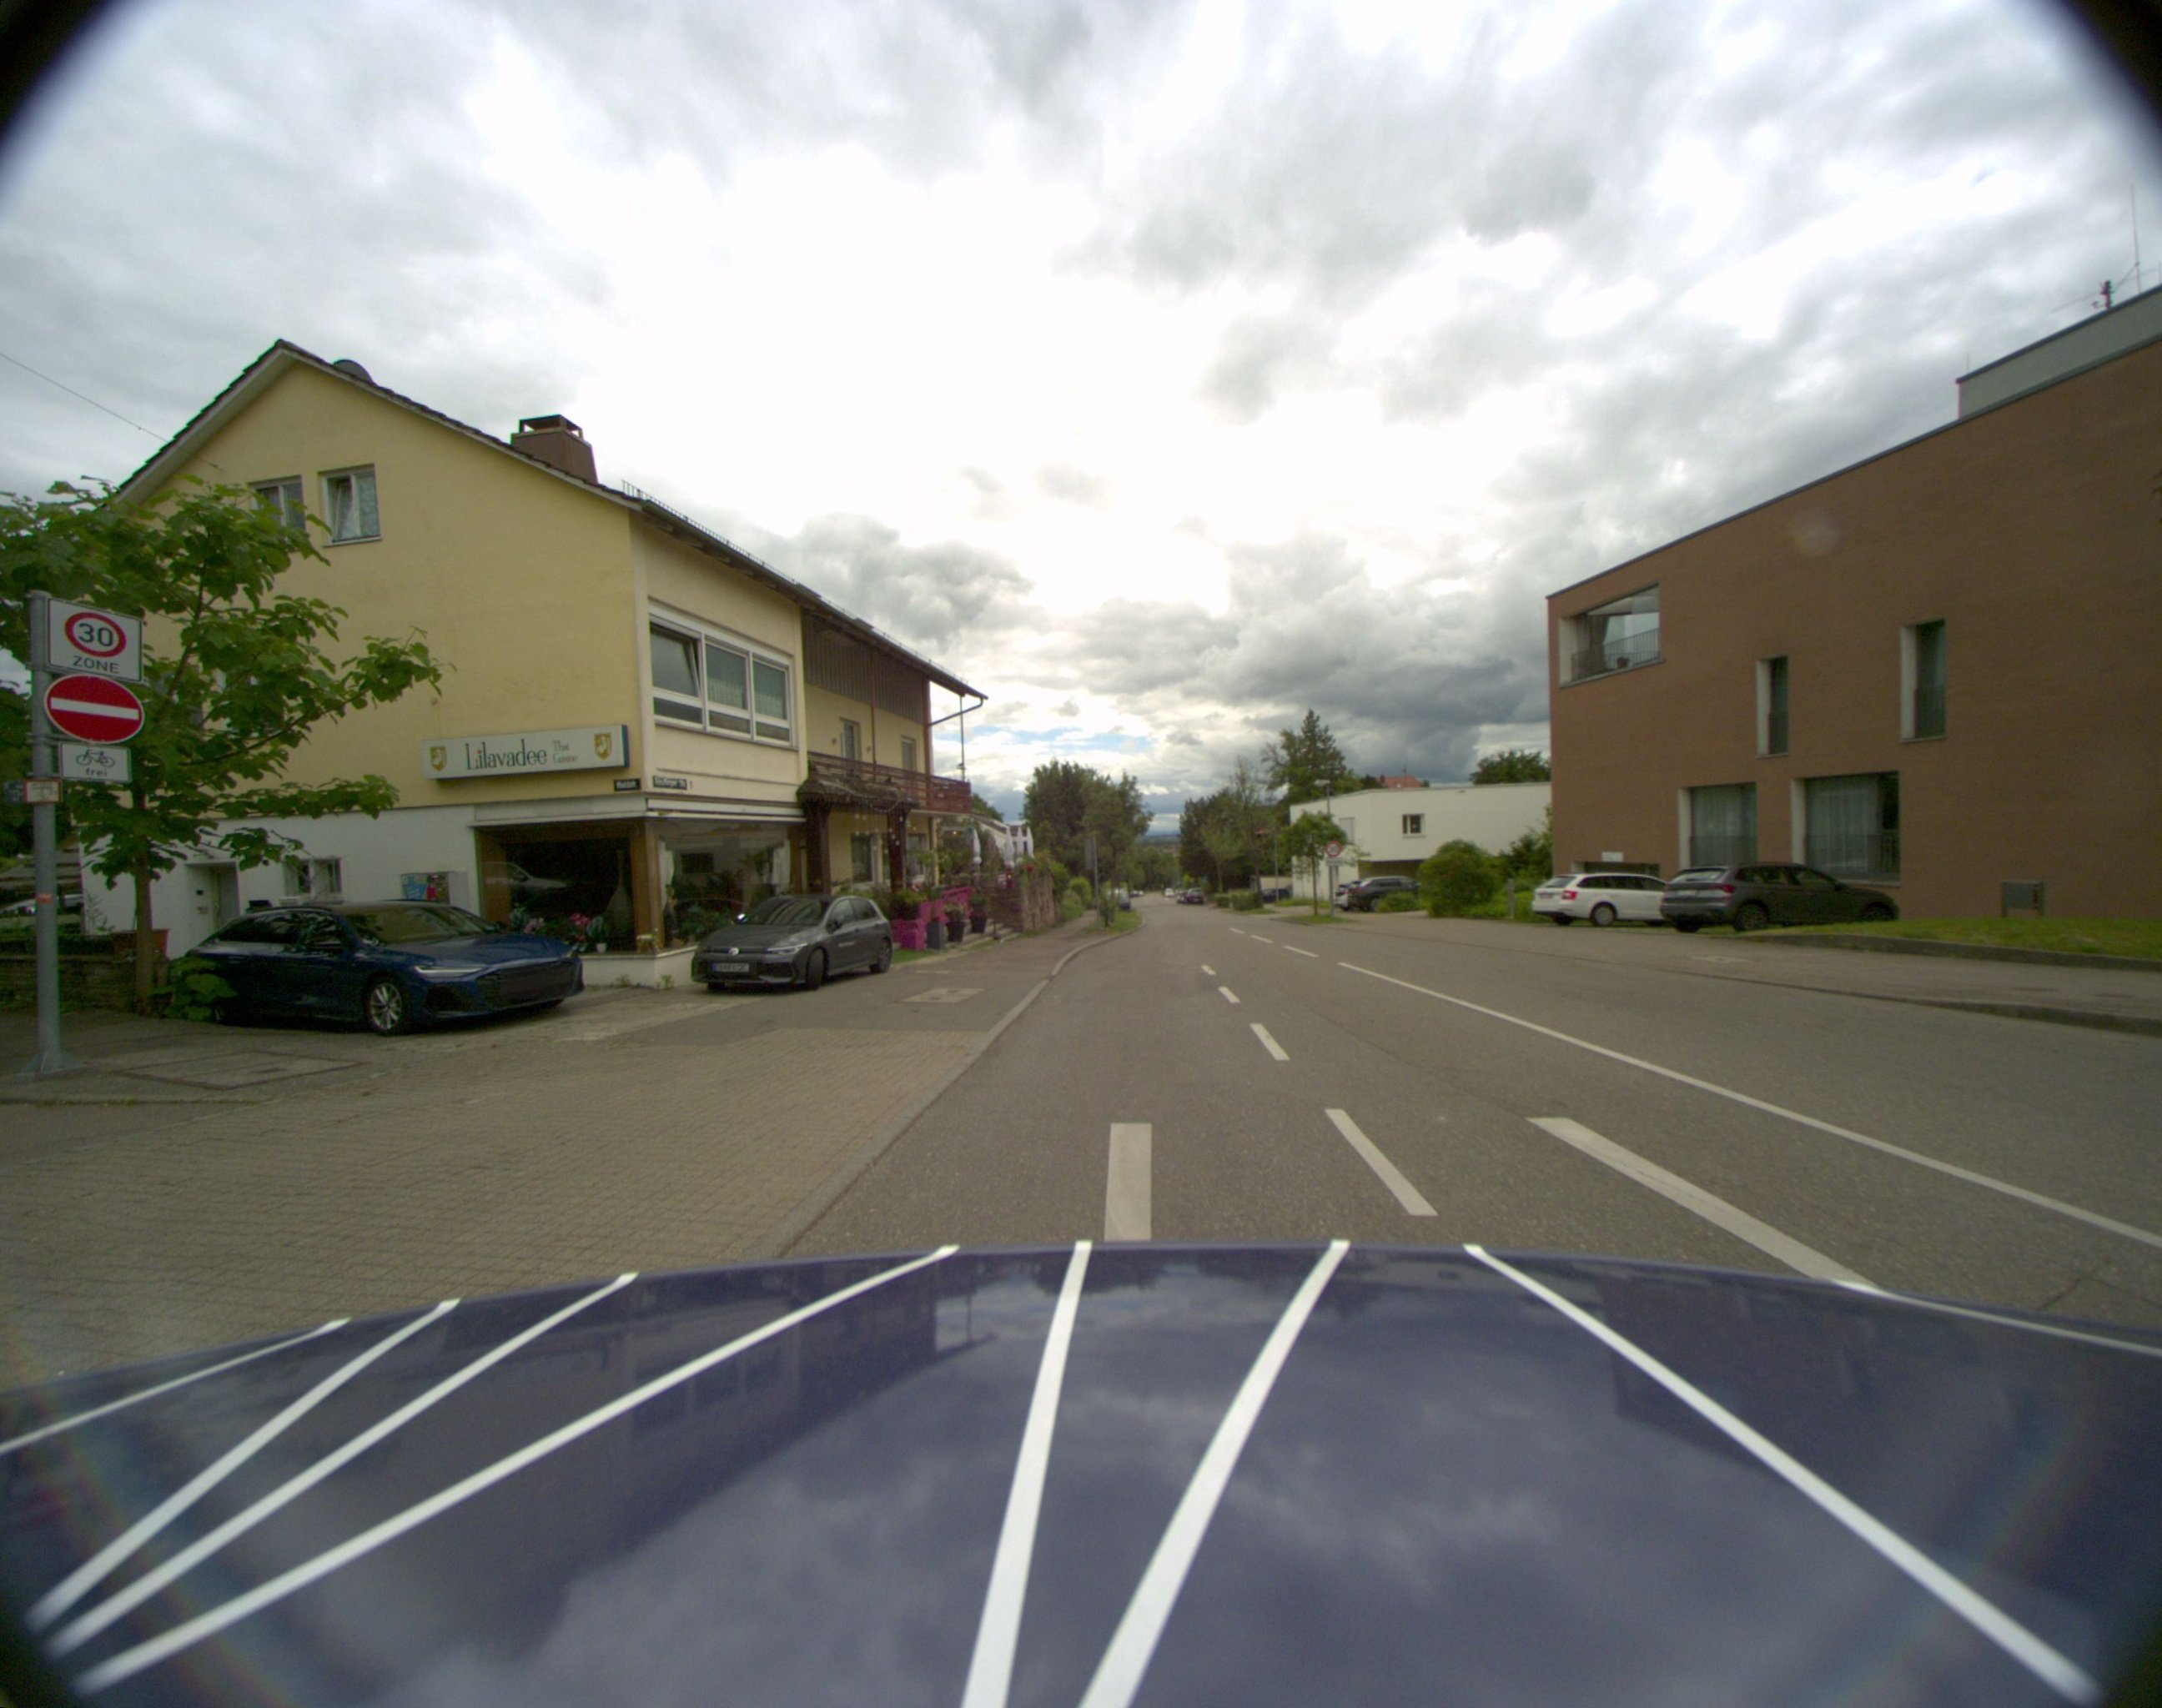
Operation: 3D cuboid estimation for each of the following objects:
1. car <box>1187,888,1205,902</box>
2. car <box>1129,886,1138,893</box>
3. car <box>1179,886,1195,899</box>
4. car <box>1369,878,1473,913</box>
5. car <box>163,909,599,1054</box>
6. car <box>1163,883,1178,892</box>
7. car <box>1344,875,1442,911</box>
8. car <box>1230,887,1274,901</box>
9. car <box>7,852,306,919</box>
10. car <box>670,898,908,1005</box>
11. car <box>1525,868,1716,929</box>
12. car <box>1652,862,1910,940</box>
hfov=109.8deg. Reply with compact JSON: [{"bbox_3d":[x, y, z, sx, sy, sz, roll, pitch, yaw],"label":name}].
[{"bbox_3d":[12.194,4.296,80.582,1.661,1.412,4.004,-2,-3,6],"label":"car"},{"bbox_3d":[12.746,8.573,183.521,1.883,1.412,4.369,-1,-1,1],"label":"car"},{"bbox_3d":[12.512,4.551,89.580,1.661,1.412,4.372,-2,-3,6],"label":"car"},{"bbox_3d":[15.609,1.894,35.039,3.996,1.476,1.728,-2,-3,3],"label":"car"},{"bbox_3d":[-8.525,1.417,9.295,4.739,1.378,1.802,-2,-1,18],"label":"car"},{"bbox_3d":[16.226,6.065,137.977,1.884,1.412,4.368,-1,-1,-2],"label":"car"},{"bbox_3d":[15.063,1.893,36.881,3.996,1.585,1.795,-2,-3,3],"label":"car"},{"bbox_3d":[16.559,3.881,73.733,3.995,1.278,1.665,-2,-3,7],"label":"car"},{"bbox_3d":[-22.650,0.826,18.895,1.795,1.452,4.336,-2,-4,22],"label":"car"},{"bbox_3d":[-4.538,1.477,12.632,1.796,1.452,4.332,-1,-4,8],"label":"car"},{"bbox_3d":[14.621,1.204,20.717,3.998,1.476,1.727,-1,-3,-3],"label":"car"},{"bbox_3d":[14.921,0.991,16.329,3.998,1.476,1.727,-1,-3,-3],"label":"car"}]
